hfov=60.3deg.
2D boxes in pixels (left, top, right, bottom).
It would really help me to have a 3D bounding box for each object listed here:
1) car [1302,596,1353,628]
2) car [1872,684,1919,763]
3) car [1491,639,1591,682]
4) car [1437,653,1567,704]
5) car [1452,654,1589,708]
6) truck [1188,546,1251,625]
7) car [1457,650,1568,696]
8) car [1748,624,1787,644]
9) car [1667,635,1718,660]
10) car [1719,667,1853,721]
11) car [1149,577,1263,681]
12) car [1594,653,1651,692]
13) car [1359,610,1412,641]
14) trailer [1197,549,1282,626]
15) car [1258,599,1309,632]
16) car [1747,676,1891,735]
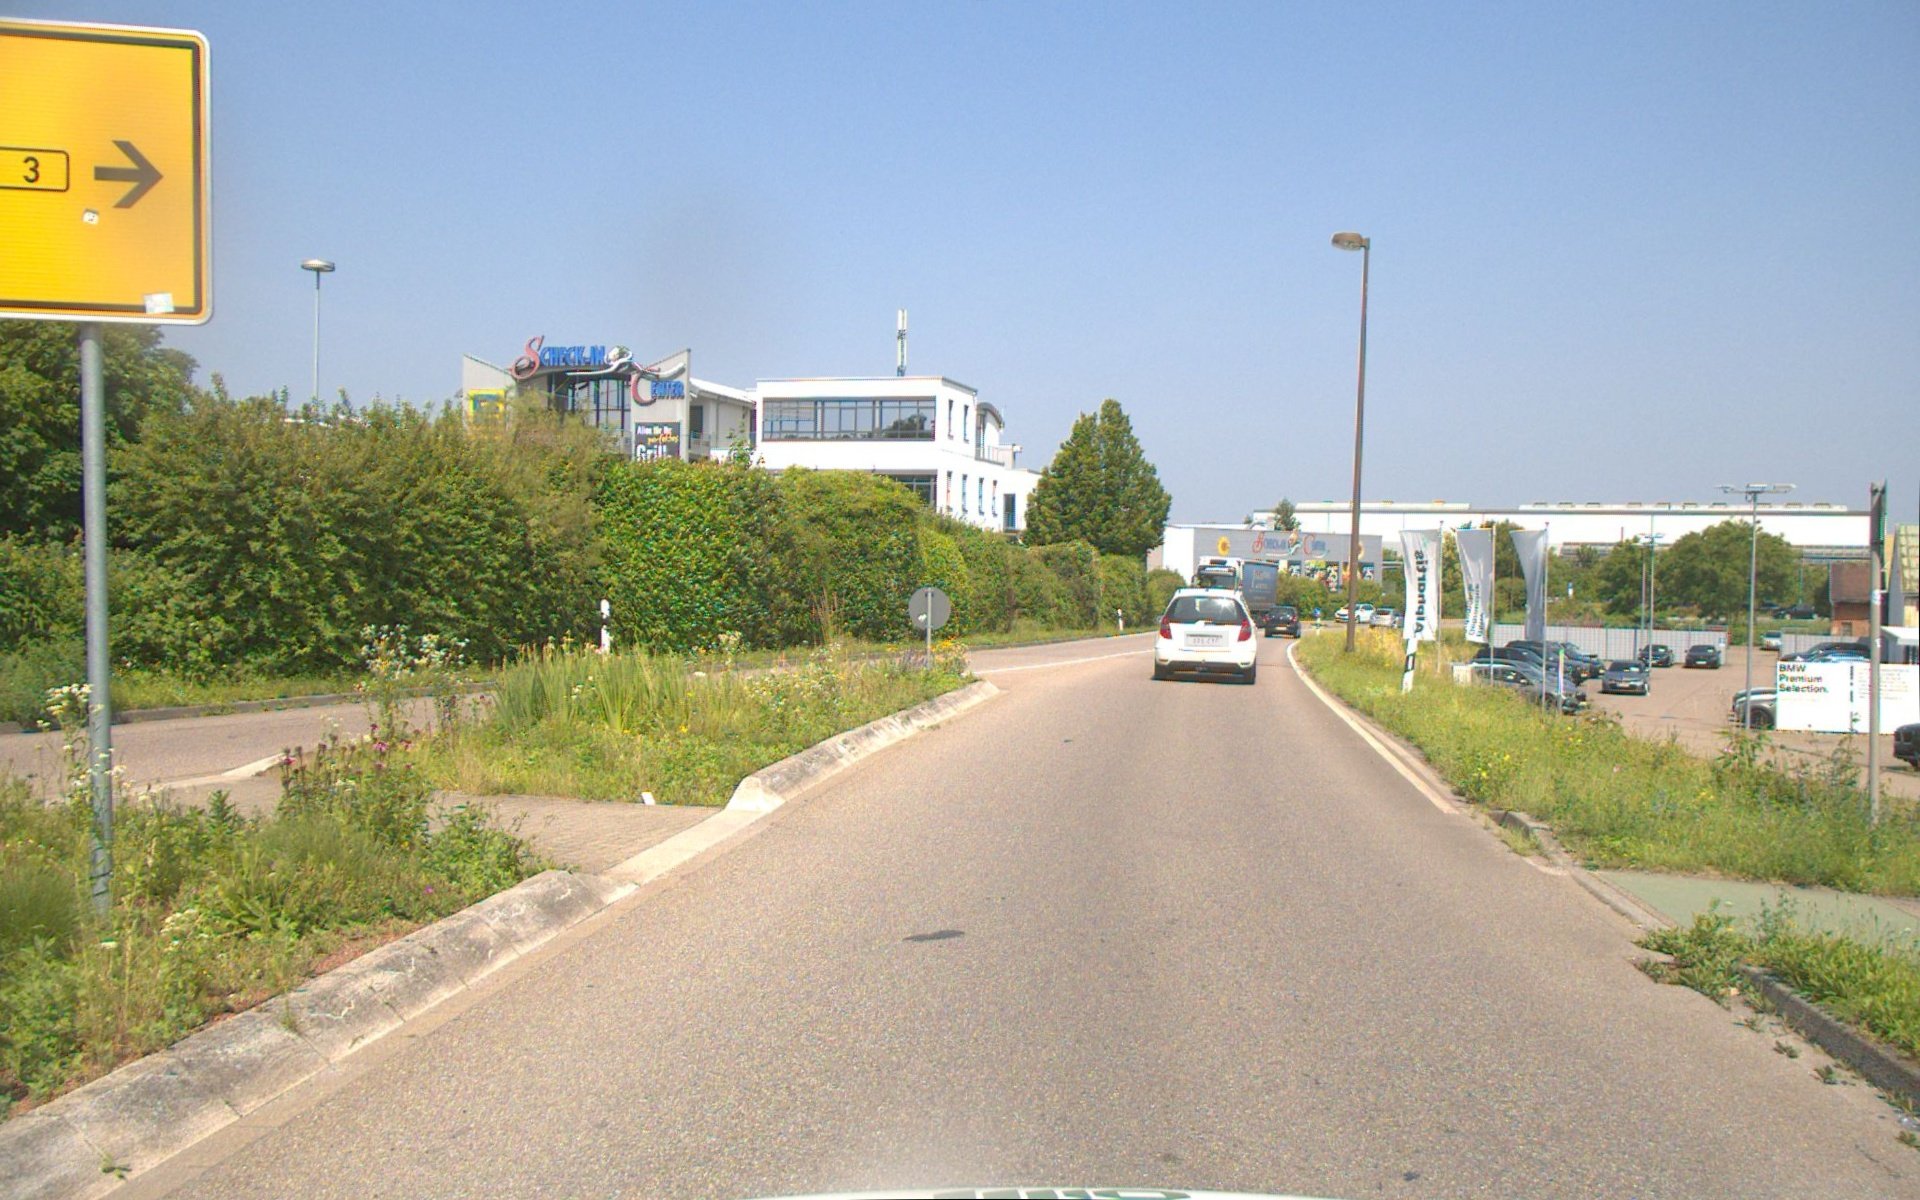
[{"bbox_3d":[25.125,0.808,113.067,1.960,2.049,3.986,2,0,35],"label":"car"},{"bbox_3d":[23.349,2.843,37.288,4.387,1.669,2.148,2,-1,2],"label":"car"},{"bbox_3d":[27.999,2.906,79.760,1.902,1.730,4.174,-1,2,-40],"label":"car"},{"bbox_3d":[19.628,2.804,59.937,4.097,1.549,1.741,3,0,41],"label":"car"},{"bbox_3d":[19.128,2.737,56.583,1.678,1.549,4.104,2,0,-44],"label":"car"},{"bbox_3d":[14.837,-0.766,94.182,2.460,4.332,6.114,1,0,19],"label":"truck"},{"bbox_3d":[25.606,3.350,76.795,1.842,1.730,4.569,-1,3,-44],"label":"car"},{"bbox_3d":[61.499,2.614,125.940,1.961,1.422,3.983,3,0,37],"label":"car"},{"bbox_3d":[44.661,2.881,100.822,1.961,1.422,3.983,3,0,37],"label":"car"},{"bbox_3d":[27.854,3.130,55.806,3.887,1.549,1.746,2,0,33],"label":"car"},{"bbox_3d":[4.447,0.473,29.503,1.743,1.631,3.896,3,1,11],"label":"car"},{"bbox_3d":[29.739,3.224,74.162,2.093,1.482,4.528,2,0,25],"label":"car"},{"bbox_3d":[30.079,1.793,116.784,1.965,2.049,3.976,2,0,41],"label":"car"},{"bbox_3d":[17.361,-0.653,101.853,2.615,4.315,14.570,3,0,19],"label":"trailer"},{"bbox_3d":[15.993,0.784,81.633,1.791,1.496,4.411,2,0,19],"label":"car"},{"bbox_3d":[27.224,3.316,52.460,3.732,1.549,1.743,3,0,39],"label":"car"}]
